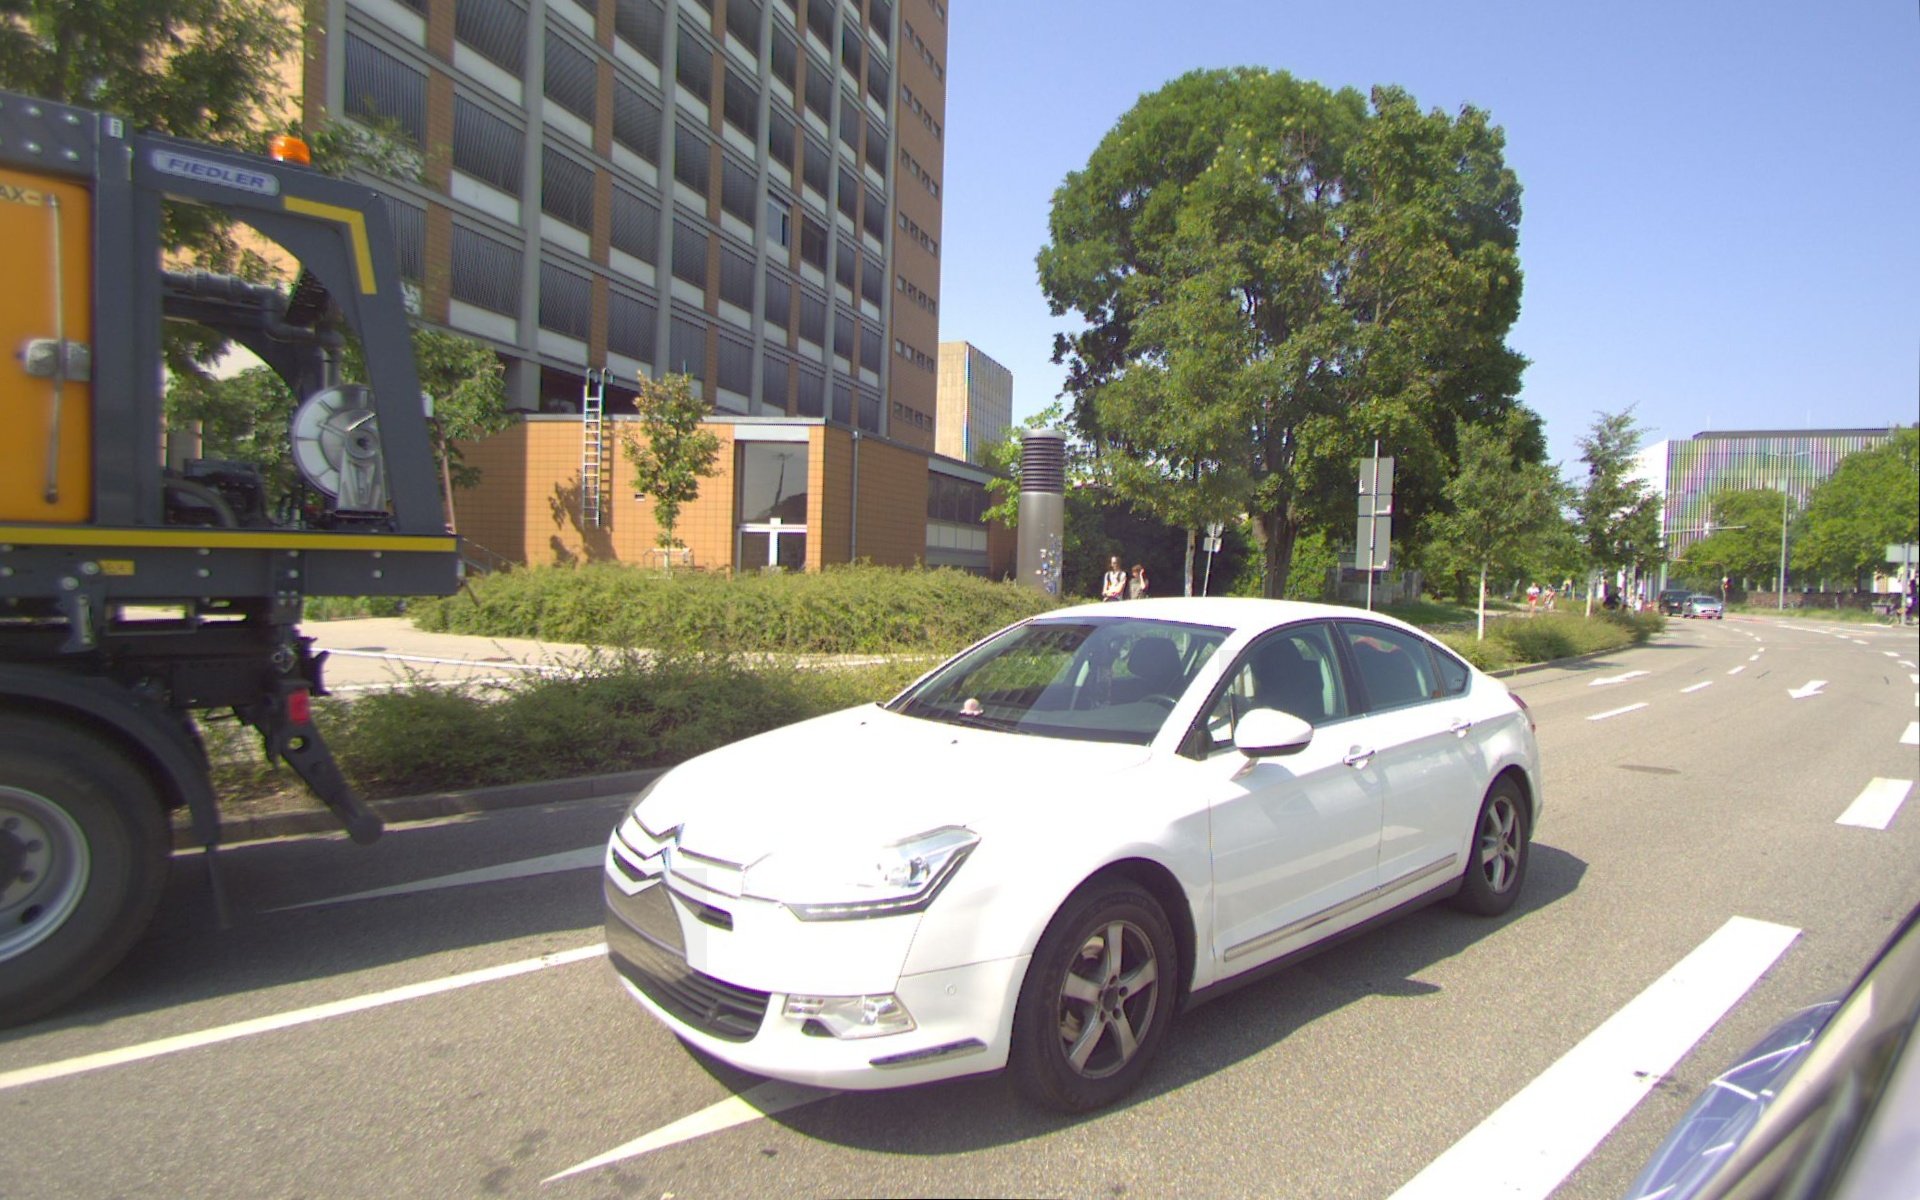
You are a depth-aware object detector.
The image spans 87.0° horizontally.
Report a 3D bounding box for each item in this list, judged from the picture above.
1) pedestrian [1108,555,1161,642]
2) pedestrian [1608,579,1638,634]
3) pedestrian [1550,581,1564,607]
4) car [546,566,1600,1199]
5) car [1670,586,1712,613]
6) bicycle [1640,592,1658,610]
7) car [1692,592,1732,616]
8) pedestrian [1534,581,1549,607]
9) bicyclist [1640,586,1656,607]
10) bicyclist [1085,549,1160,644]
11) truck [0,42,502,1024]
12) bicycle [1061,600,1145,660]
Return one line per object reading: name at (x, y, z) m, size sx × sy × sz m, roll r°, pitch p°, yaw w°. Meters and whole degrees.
pedestrian at (3.527, -0.043, 20.449) m, size 0.670 × 1.720 × 0.793 m, roll 2°, pitch 1°, yaw 44°
pedestrian at (23.715, 0.213, 36.198) m, size 0.818 × 1.926 × 0.622 m, roll 2°, pitch 1°, yaw 37°
pedestrian at (30.287, -0.293, 51.318) m, size 0.572 × 1.315 × 0.433 m, roll 0°, pitch 0°, yaw 29°
car at (0.840, 0.636, 4.327) m, size 4.525 × 1.446 × 1.774 m, roll 0°, pitch 2°, yaw -38°
car at (54.454, -0.036, 75.448) m, size 1.874 × 1.943 × 4.489 m, roll 1°, pitch 1°, yaw 28°
bicycle at (47.180, 0.050, 69.293) m, size 2.198 × 1.183 × 0.593 m, roll 0°, pitch 2°, yaw -44°
car at (50.641, 0.256, 68.192) m, size 1.646 × 1.550 × 4.485 m, roll 0°, pitch 0°, yaw 30°
pedestrian at (29.632, -0.294, 51.574) m, size 0.629 × 1.315 × 0.482 m, roll 0°, pitch 0°, yaw 29°
bicyclist at (47.046, -0.259, 69.157) m, size 1.032 × 1.417 × 0.678 m, roll 0°, pitch 1°, yaw -44°
bicyclist at (2.869, -0.073, 17.855) m, size 0.909 × 1.625 × 0.903 m, roll 0°, pitch 1°, yaw -43°
truck at (-5.309, -0.220, 3.099) m, size 6.736 × 3.174 × 2.498 m, roll 0°, pitch 0°, yaw -39°
bicycle at (2.503, 0.498, 17.546) m, size 1.751 × 0.992 × 0.357 m, roll 0°, pitch 1°, yaw -41°
